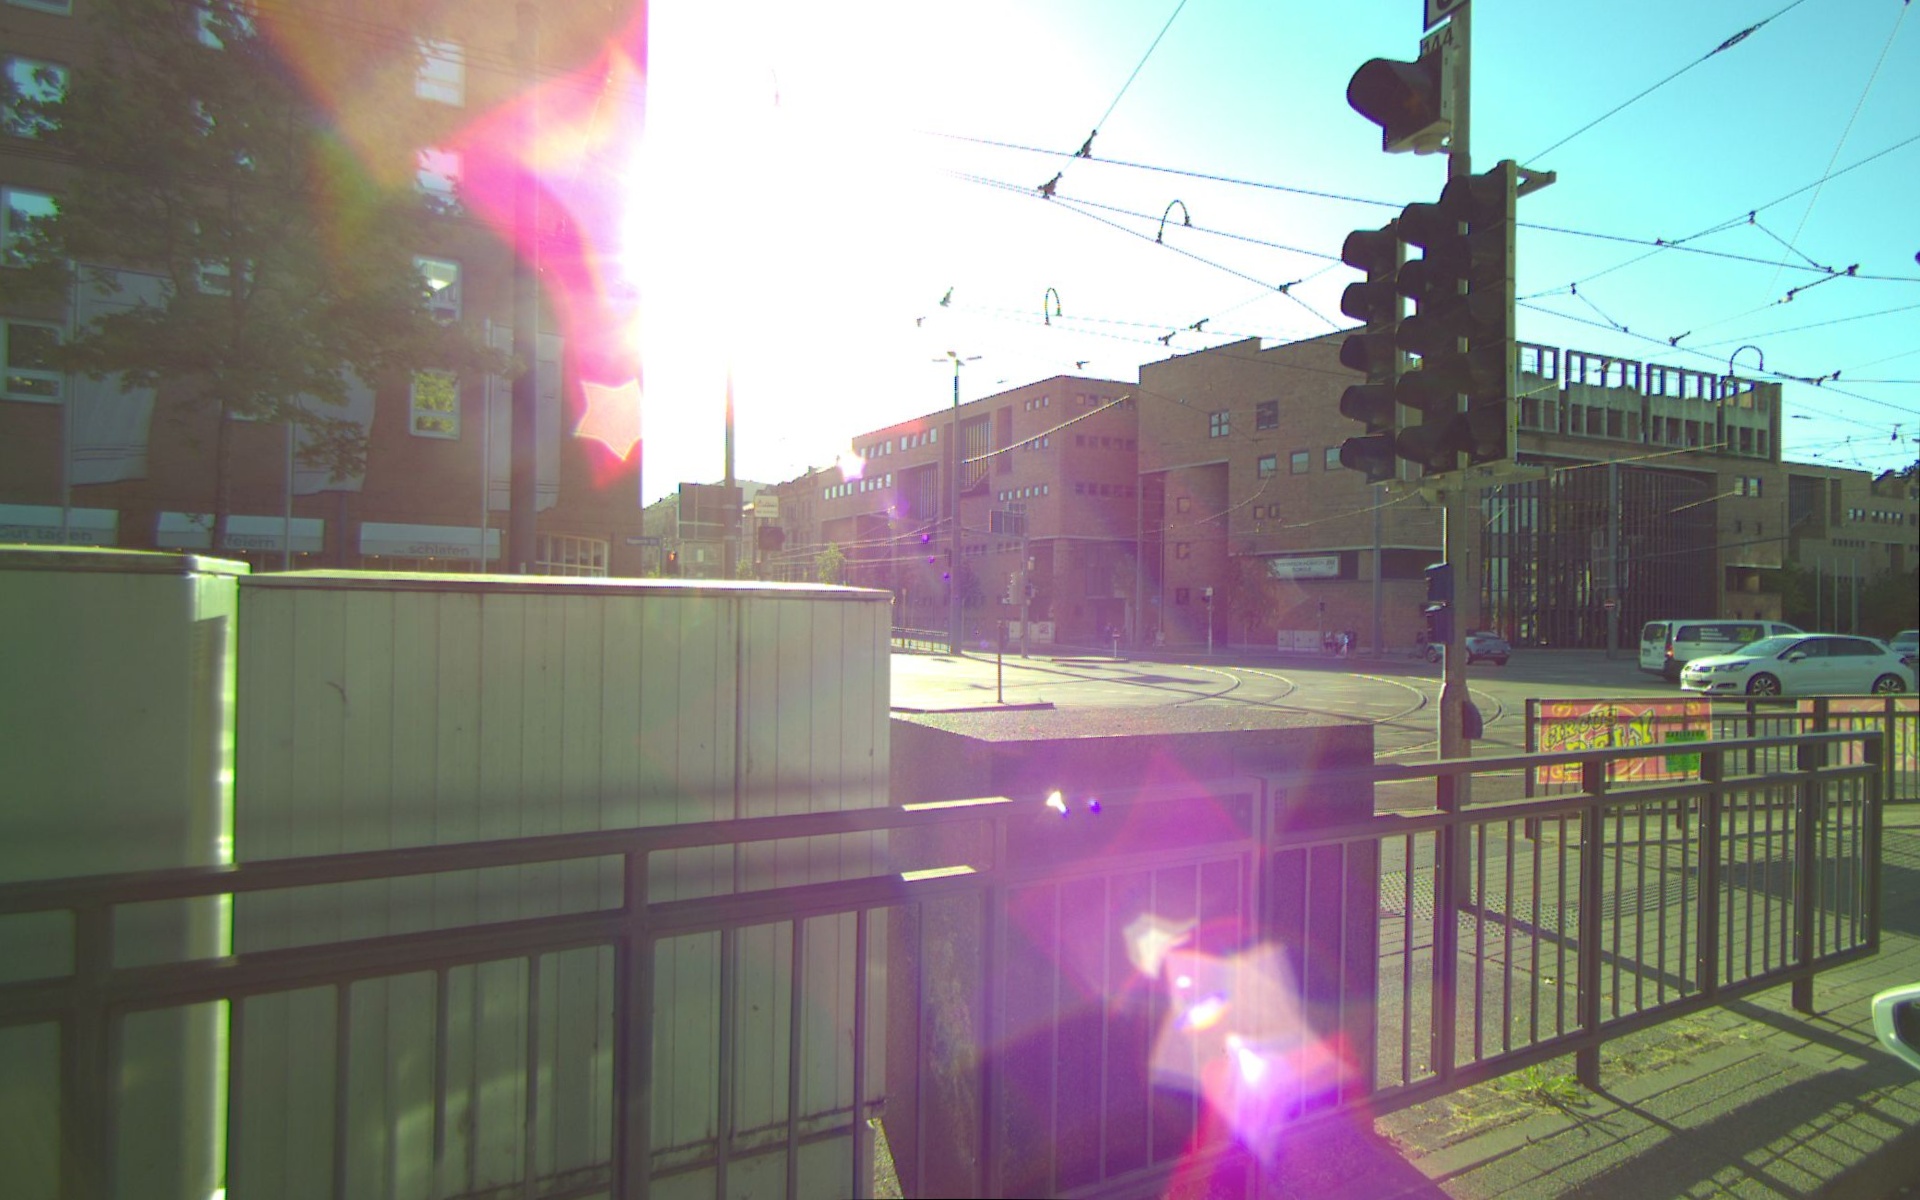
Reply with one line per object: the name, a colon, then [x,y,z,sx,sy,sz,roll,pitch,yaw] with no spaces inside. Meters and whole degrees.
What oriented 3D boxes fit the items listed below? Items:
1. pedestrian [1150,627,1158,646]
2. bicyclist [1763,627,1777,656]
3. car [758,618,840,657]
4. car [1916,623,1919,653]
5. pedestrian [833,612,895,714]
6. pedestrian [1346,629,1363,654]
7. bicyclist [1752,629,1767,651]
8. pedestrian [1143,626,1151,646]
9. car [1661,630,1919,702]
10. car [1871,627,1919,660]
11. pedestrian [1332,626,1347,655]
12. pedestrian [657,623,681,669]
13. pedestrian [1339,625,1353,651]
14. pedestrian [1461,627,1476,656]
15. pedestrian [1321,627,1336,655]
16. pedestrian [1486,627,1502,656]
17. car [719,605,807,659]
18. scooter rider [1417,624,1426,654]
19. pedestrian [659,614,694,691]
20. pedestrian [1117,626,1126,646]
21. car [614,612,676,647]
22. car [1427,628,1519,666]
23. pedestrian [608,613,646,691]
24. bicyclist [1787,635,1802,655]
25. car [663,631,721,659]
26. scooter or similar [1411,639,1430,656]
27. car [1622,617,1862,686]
pedestrian: [14.690,2.738,76.051,0.549,1.445,0.556,0,-1,2]
bicyclist: [44.946,2.307,55.728,0.574,1.624,0.456,1,-1,-30]
car: [-8.344,1.902,51.705,1.982,1.928,5.156,1,-2,-38]
car: [55.251,2.111,55.898,3.954,1.661,1.983,1,-2,-31]
pedestrian: [-1.621,1.043,16.948,0.709,1.669,0.953,1,-1,-30]
pedestrian: [22.254,2.336,56.705,0.670,1.357,0.603,1,-1,-14]
bicyclist: [46.676,2.331,58.654,0.574,1.321,0.503,1,-1,-30]
pedestrian: [14.303,2.752,76.822,0.523,1.482,0.591,0,-1,3]
car: [18.414,1.434,22.447,4.222,1.508,1.762,0,-1,4]
car: [48.982,2.224,51.784,3.954,1.661,1.983,1,-2,-31]
pedestrian: [21.784,2.326,57.607,0.543,1.670,0.596,1,-1,-30]
pedestrian: [-10.555,1.655,36.458,0.658,1.669,0.638,1,-1,-34]
pedestrian: [22.558,2.225,58.669,0.611,1.473,0.562,2,-2,-45]
pedestrian: [29.609,2.408,58.448,0.539,1.706,0.573,1,-1,-10]
pedestrian: [21.453,2.371,58.473,0.582,1.635,0.593,1,-1,-31]
pedestrian: [30.746,2.366,57.810,0.606,1.647,0.613,0,-1,-2]
car: [-9.473,1.512,47.978,1.982,2.419,5.156,1,-2,-38]
scooter rider: [25.423,2.159,55.374,0.429,1.669,0.229,0,-1,15]
pedestrian: [-6.961,1.272,24.660,0.647,1.864,0.835,1,-1,-28]
pedestrian: [12.034,2.673,74.889,0.463,1.482,0.505,1,-1,-37]
car: [-19.627,1.823,62.478,1.982,2.122,5.156,1,-2,-38]
car: [22.345,2.018,43.915,1.964,1.595,3.720,0,-1,-3]
pedestrian: [-8.015,1.229,24.140,0.713,1.837,0.904,1,-1,-28]
bicyclist: [49.460,2.660,59.548,0.574,1.194,0.503,1,-1,-30]
car: [-14.398,2.391,53.925,1.729,1.372,3.960,1,-2,-36]
scooter or similar: [25.377,2.636,55.377,0.931,0.911,0.176,0,-1,14]
car: [22.751,1.474,29.454,5.222,1.873,1.969,0,-1,12]
